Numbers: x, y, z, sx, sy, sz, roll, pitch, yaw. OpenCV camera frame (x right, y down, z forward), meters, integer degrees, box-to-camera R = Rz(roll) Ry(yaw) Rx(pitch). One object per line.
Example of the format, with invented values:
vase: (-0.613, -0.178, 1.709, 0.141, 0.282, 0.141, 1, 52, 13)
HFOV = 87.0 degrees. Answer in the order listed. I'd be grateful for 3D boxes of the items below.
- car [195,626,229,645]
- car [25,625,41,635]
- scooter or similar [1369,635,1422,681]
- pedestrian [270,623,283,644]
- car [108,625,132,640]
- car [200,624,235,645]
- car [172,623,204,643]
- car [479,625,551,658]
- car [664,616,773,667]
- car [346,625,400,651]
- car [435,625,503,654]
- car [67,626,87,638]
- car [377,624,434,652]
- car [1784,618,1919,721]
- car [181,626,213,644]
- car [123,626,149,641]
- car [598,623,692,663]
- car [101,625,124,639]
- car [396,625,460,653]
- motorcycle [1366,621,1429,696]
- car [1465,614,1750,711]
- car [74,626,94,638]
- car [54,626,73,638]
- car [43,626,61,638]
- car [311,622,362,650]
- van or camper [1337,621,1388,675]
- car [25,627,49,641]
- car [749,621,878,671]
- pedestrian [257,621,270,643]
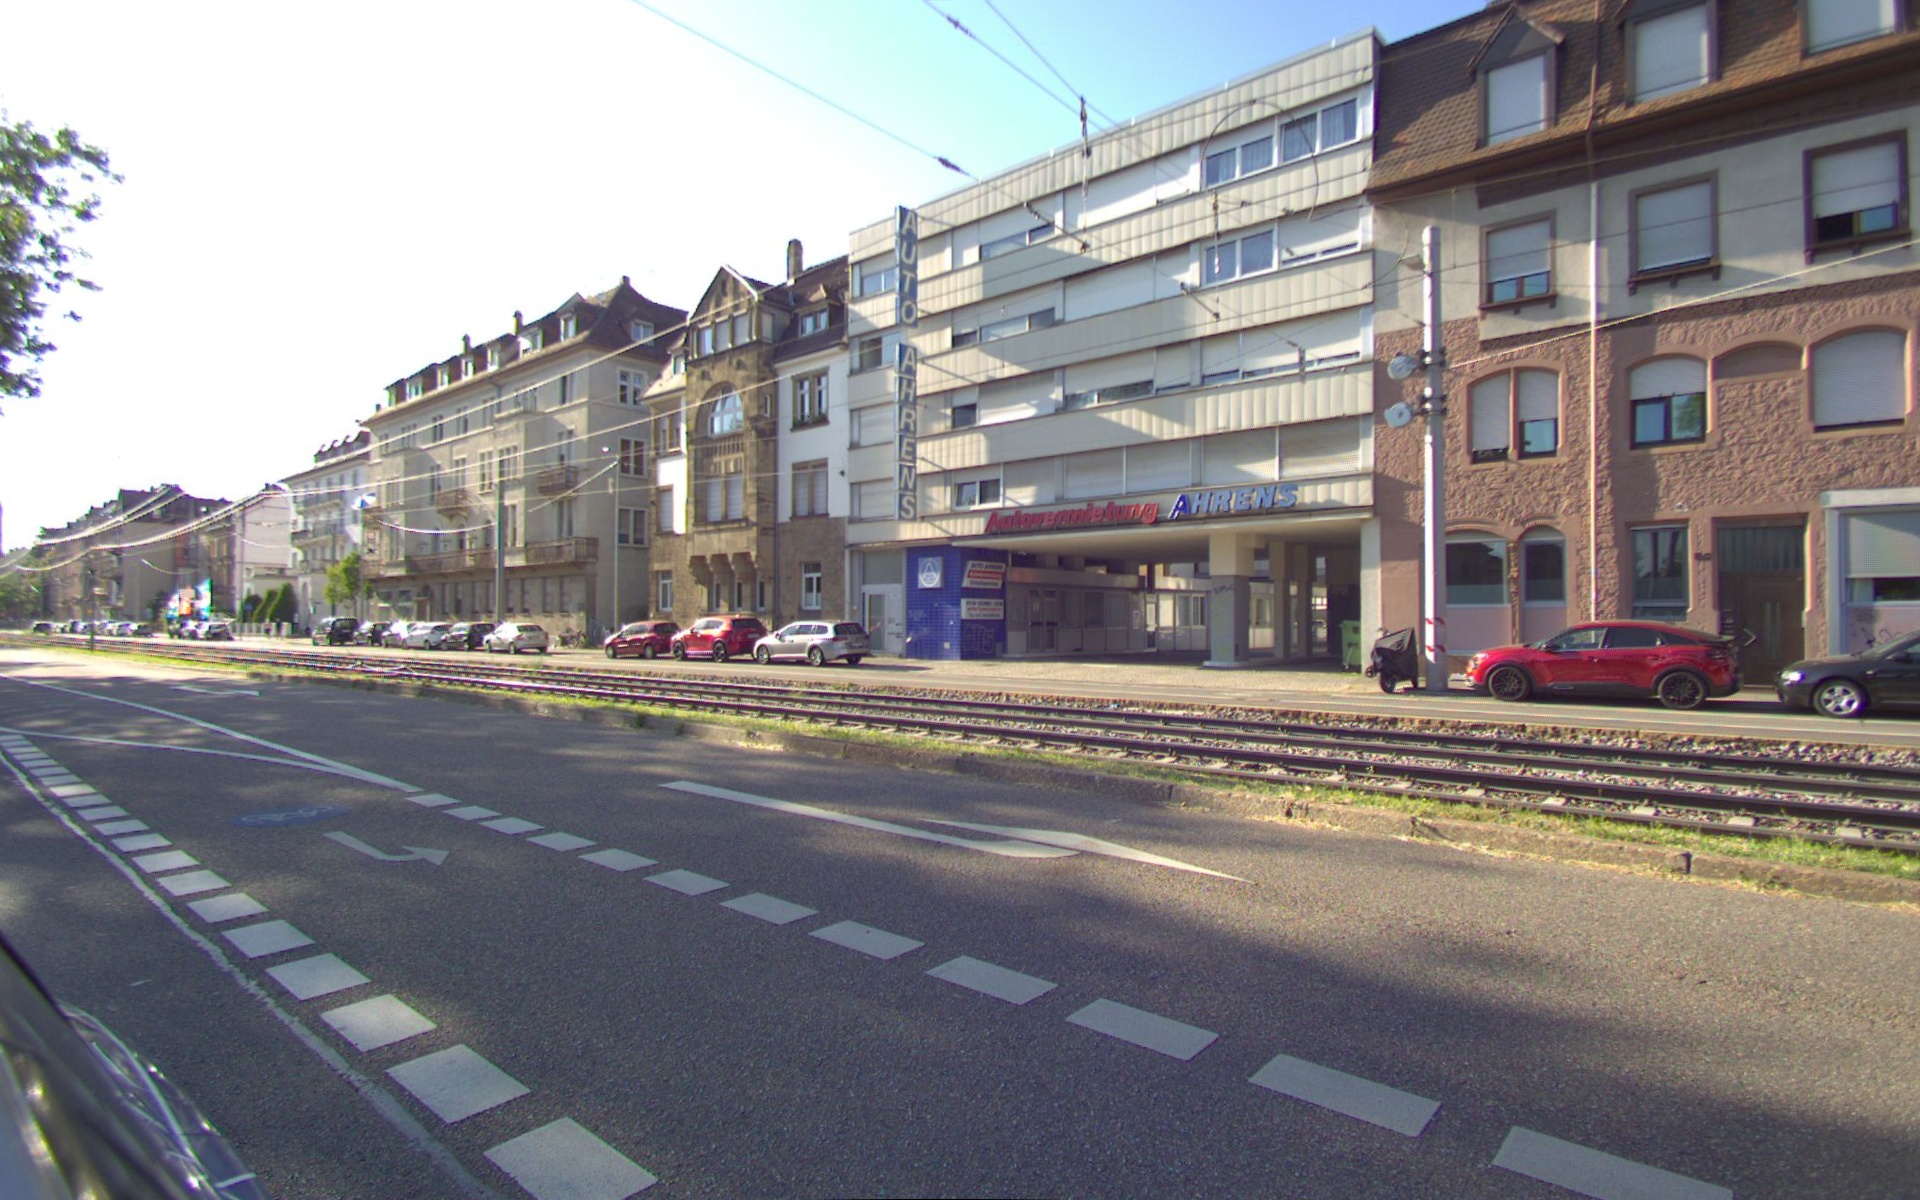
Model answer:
car: (-64.571, 3.066, 87.336, 3.387, 1.583, 1.662, -1, 0, 42)
car: (-153.743, 4.990, 167.894, 3.449, 1.602, 1.603, -1, 0, 42)
scooter or similar: (10.270, 1.359, 23.905, 1.121, 1.077, 0.202, -2, -1, 42)
pedestrian: (-57.297, 2.804, 84.804, 0.677, 1.803, 0.716, -2, -2, 41)
car: (-94.539, 3.674, 113.882, 3.449, 1.602, 1.603, -1, 0, 42)
car: (-61.021, 2.855, 83.188, 3.407, 1.644, 1.655, -2, -1, 42)
car: (-72.139, 3.039, 94.522, 3.879, 1.800, 1.705, -1, 0, 42)
car: (-21.502, 1.990, 48.855, 3.822, 1.490, 1.778, -2, -1, 42)
car: (-8.953, 1.499, 37.384, 4.262, 1.700, 1.836, -2, 0, 43)
car: (-36.393, 2.333, 62.711, 3.822, 1.490, 1.778, -2, -1, 42)
car: (-25.442, 2.026, 52.400, 3.820, 1.441, 1.779, -1, -1, 40)
car: (-120.139, 4.315, 137.654, 3.449, 1.602, 1.603, -1, 0, 42)
car: (-32.137, 2.191, 58.607, 3.822, 1.490, 1.778, -2, -1, 42)
car: (15.086, 1.037, 15.381, 3.926, 1.448, 1.678, -2, 1, 41)
car: (-68.027, 3.113, 90.200, 3.387, 1.583, 1.662, -1, 0, 42)
car: (-87.746, 3.564, 107.721, 3.449, 1.602, 1.603, -1, 0, 42)
car: (-12.712, 1.721, 40.817, 3.722, 1.507, 1.736, -2, 0, 36)
car: (-98.428, 3.697, 117.556, 3.449, 1.602, 1.603, -1, 0, 42)
car: (-28.851, 2.112, 54.883, 3.531, 1.457, 1.624, -1, -1, 35)
motorcycle: (9.179, 1.193, 21.202, 0.628, 1.433, 1.835, -3, -1, 42)
car: (11.857, 1.083, 18.677, 4.208, 1.510, 1.837, -2, 1, 41)
car: (-116.381, 4.234, 134.426, 3.449, 1.602, 1.603, -1, 0, 42)
car: (-126.042, 4.505, 142.255, 3.449, 1.602, 1.603, -1, 0, 42)
car: (-133.897, 4.700, 149.246, 3.449, 1.602, 1.603, -1, 0, 42)
car: (-40.741, 2.338, 66.108, 3.914, 1.750, 1.851, -2, -1, 42)
van or camper: (10.533, 1.236, 26.441, 0.803, 1.368, 1.409, -2, -2, 41)
car: (-114.657, 4.257, 125.736, 3.999, 1.697, 1.798, -2, -2, 42)
car: (-4.957, 1.512, 33.888, 4.379, 1.510, 1.837, -2, 0, 41)
pedestrian: (-57.955, 2.674, 84.249, 0.677, 1.803, 0.716, -2, -2, 41)
